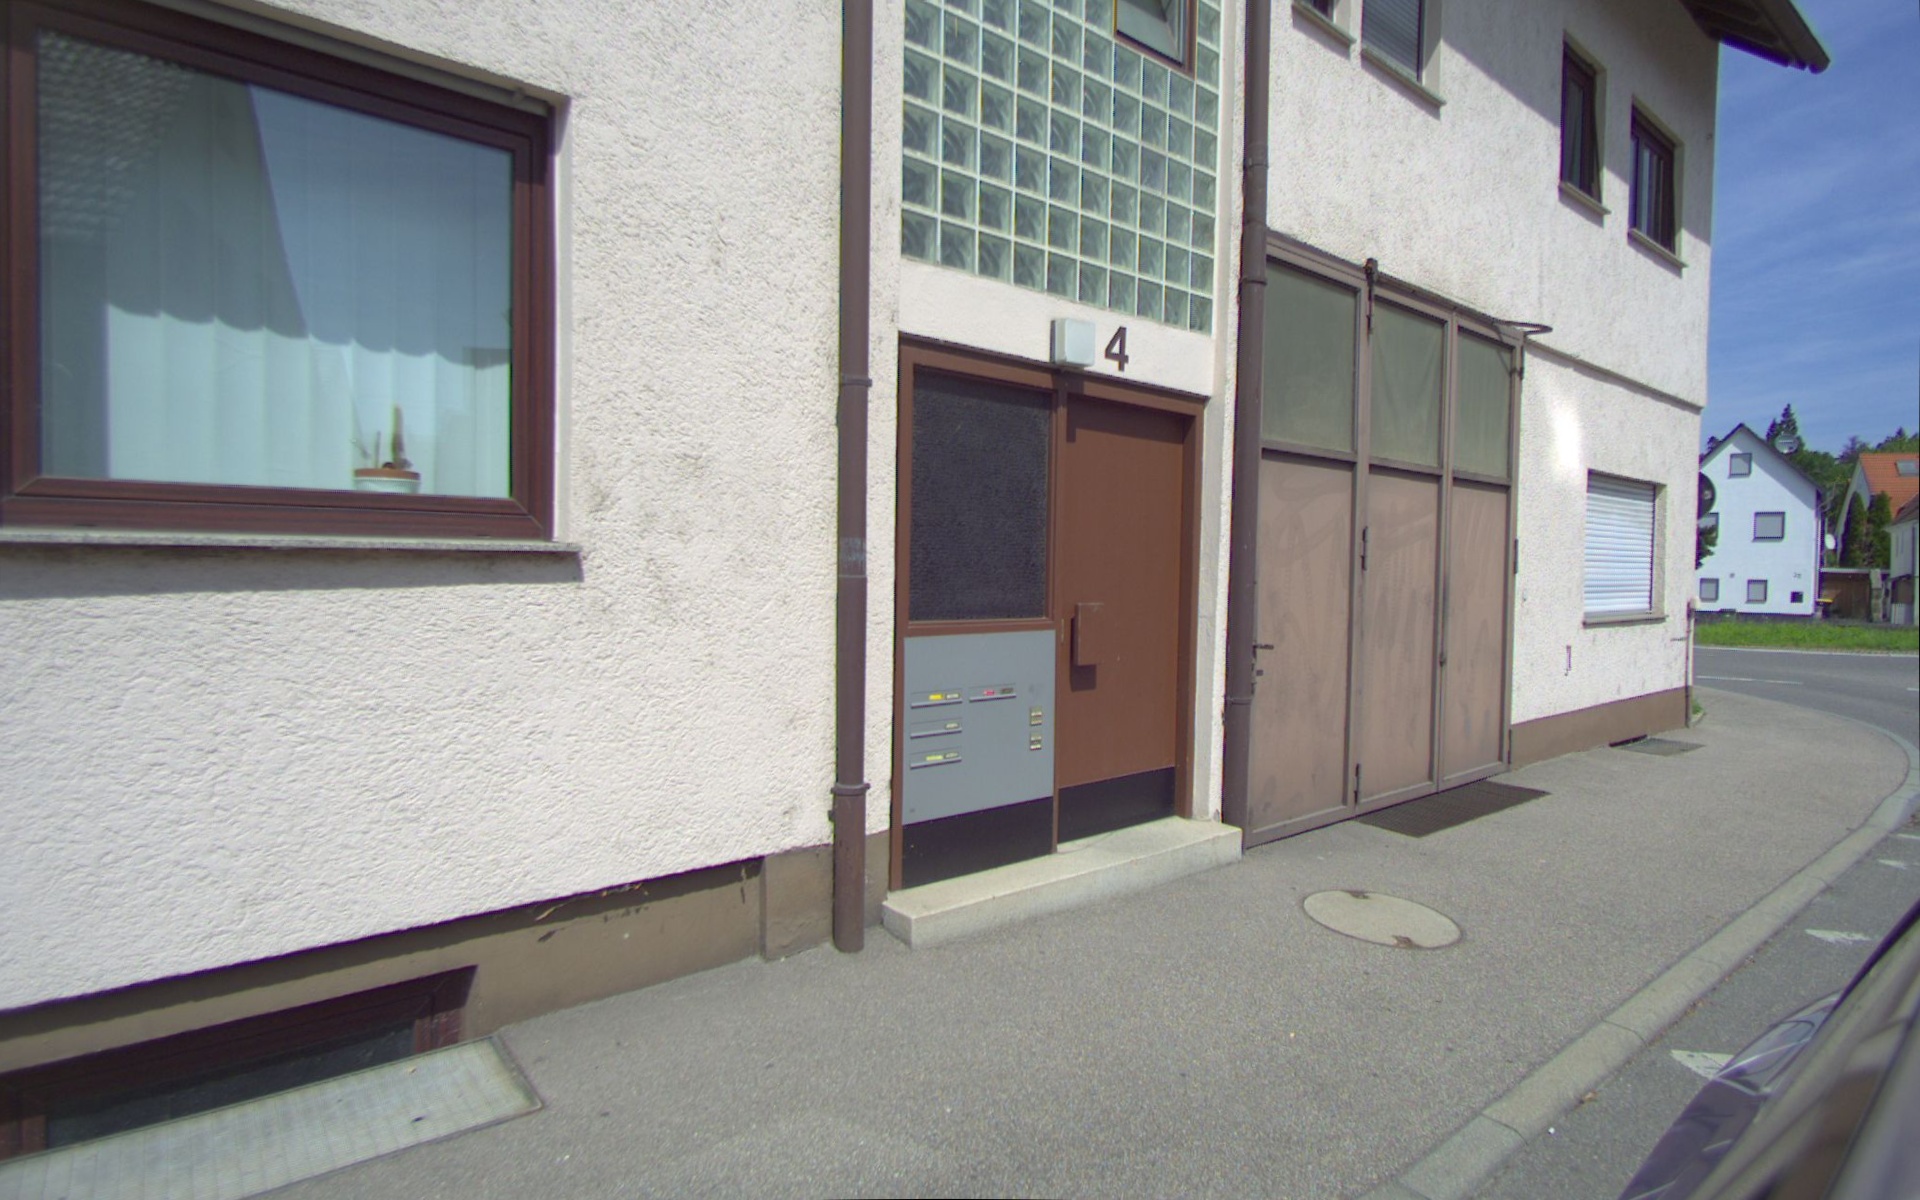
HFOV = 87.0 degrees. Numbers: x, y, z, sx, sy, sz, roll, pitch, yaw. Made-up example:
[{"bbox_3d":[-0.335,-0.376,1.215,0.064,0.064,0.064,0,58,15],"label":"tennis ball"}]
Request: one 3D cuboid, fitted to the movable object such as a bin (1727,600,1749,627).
[{"bbox_3d":[32.091,0.553,41.739,0.574,1.062,0.893,1,0,30],"label":"movable object such as a bin"}]
